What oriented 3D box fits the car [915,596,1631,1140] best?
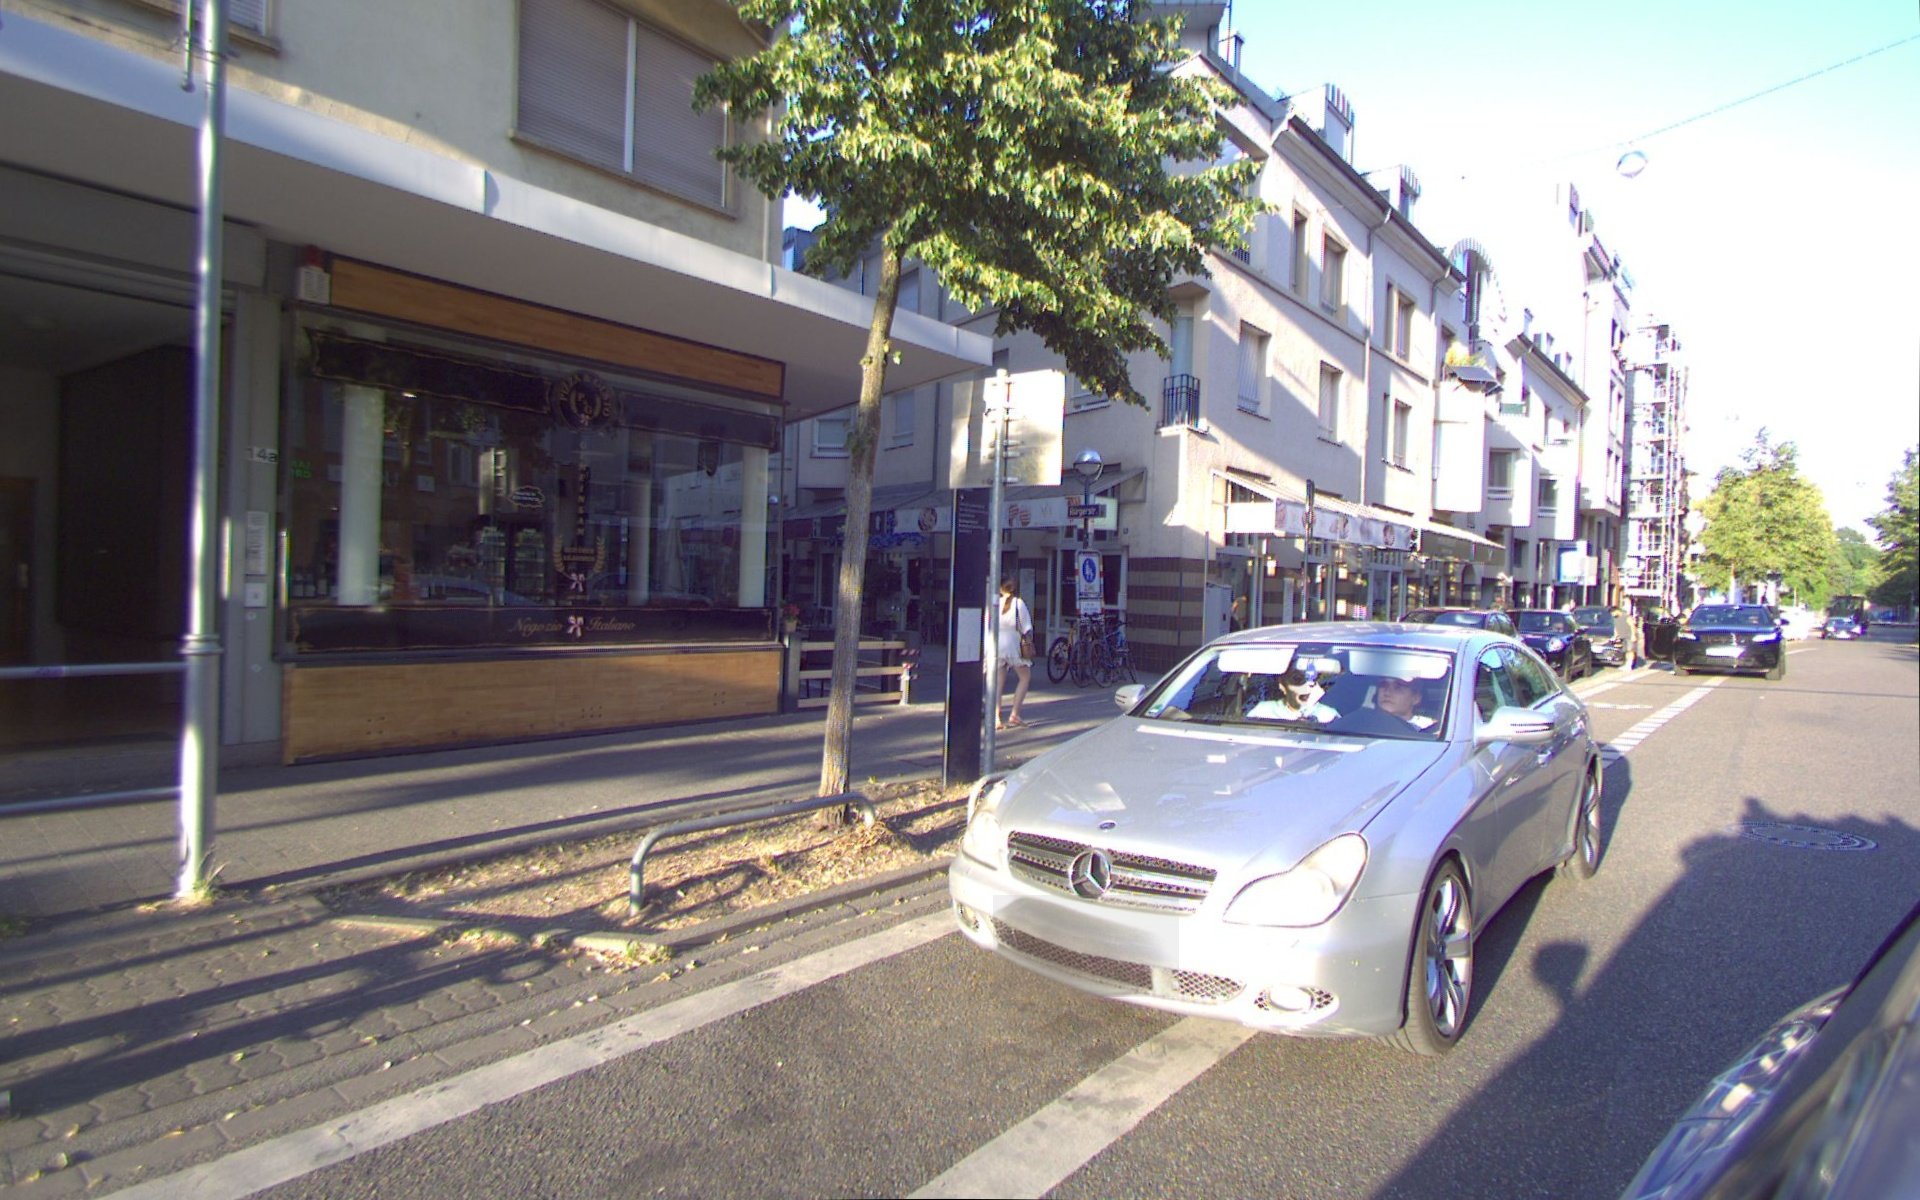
[{"bbox_3d":[1.965,0.769,4.986,1.740,1.419,4.571,0,-2,40],"label":"car"}]

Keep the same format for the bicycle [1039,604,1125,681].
[{"bbox_3d":[1.923,0.629,15.720,0.320,1.118,1.851,2,1,41],"label":"bicycle"}]

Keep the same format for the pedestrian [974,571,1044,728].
[{"bbox_3d":[0.523,0.510,10.849,0.519,1.612,0.402,5,3,41],"label":"pedestrian"}]

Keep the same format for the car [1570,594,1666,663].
[{"bbox_3d":[17.283,0.699,26.521,1.615,1.612,3.868,2,1,40],"label":"car"}]

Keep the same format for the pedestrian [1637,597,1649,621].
[{"bbox_3d":[36.386,0.470,53.916,0.490,1.279,0.415,0,0,42],"label":"pedestrian"}]

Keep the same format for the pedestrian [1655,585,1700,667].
[{"bbox_3d":[17.056,0.613,24.054,0.776,1.907,0.660,-2,-2,41],"label":"pedestrian"}]

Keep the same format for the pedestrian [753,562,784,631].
[{"bbox_3d":[-4.938,-0.102,26.105,0.688,1.696,0.799,2,2,-13],"label":"pedestrian"}]

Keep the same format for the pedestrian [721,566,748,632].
[{"bbox_3d":[-5.831,-0.041,26.148,0.641,1.675,0.569,1,0,-13],"label":"pedestrian"}]

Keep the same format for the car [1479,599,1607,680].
[{"bbox_3d":[12.187,0.750,21.059,1.615,1.452,3.868,3,1,40],"label":"car"}]

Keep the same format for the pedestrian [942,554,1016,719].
[{"bbox_3d":[0.212,0.392,11.383,0.543,1.779,0.495,5,3,41],"label":"pedestrian"}]

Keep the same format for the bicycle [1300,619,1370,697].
[{"bbox_3d":[5.528,0.827,14.881,0.314,1.059,1.638,3,2,43],"label":"bicycle"}]

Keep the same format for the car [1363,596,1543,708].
[{"bbox_3d":[7.766,0.717,15.756,1.587,1.452,3.868,4,2,40],"label":"car"}]

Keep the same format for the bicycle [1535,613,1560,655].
[{"bbox_3d":[16.243,0.930,27.966,0.295,1.099,1.441,1,1,41],"label":"bicycle"}]

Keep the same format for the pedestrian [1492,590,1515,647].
[{"bbox_3d":[17.750,0.596,33.079,0.574,1.823,0.443,0,-1,42],"label":"pedestrian"}]

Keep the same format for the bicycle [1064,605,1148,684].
[{"bbox_3d":[2.245,0.648,15.415,0.290,1.118,1.859,2,1,41],"label":"bicycle"}]

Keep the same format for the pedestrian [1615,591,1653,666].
[{"bbox_3d":[16.372,0.670,24.585,0.629,1.771,0.660,3,1,41],"label":"pedestrian"}]

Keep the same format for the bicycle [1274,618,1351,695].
[{"bbox_3d":[5.293,0.819,15.131,0.314,1.059,1.852,3,2,43],"label":"bicycle"}]

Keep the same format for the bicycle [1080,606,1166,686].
[{"bbox_3d":[2.469,0.662,15.207,0.320,1.118,1.851,2,1,41],"label":"bicycle"}]

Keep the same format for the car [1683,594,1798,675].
[{"bbox_3d":[17.945,0.721,23.196,1.884,1.656,4.164,0,0,41],"label":"car"}]

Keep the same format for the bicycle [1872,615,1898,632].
[{"bbox_3d":[70.345,1.786,76.970,2.933,1.248,0.859,1,1,-36],"label":"bicycle"}]

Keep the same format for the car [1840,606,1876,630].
[{"bbox_3d":[57.425,1.149,64.735,1.616,1.492,3.634,0,0,41],"label":"car"}]
